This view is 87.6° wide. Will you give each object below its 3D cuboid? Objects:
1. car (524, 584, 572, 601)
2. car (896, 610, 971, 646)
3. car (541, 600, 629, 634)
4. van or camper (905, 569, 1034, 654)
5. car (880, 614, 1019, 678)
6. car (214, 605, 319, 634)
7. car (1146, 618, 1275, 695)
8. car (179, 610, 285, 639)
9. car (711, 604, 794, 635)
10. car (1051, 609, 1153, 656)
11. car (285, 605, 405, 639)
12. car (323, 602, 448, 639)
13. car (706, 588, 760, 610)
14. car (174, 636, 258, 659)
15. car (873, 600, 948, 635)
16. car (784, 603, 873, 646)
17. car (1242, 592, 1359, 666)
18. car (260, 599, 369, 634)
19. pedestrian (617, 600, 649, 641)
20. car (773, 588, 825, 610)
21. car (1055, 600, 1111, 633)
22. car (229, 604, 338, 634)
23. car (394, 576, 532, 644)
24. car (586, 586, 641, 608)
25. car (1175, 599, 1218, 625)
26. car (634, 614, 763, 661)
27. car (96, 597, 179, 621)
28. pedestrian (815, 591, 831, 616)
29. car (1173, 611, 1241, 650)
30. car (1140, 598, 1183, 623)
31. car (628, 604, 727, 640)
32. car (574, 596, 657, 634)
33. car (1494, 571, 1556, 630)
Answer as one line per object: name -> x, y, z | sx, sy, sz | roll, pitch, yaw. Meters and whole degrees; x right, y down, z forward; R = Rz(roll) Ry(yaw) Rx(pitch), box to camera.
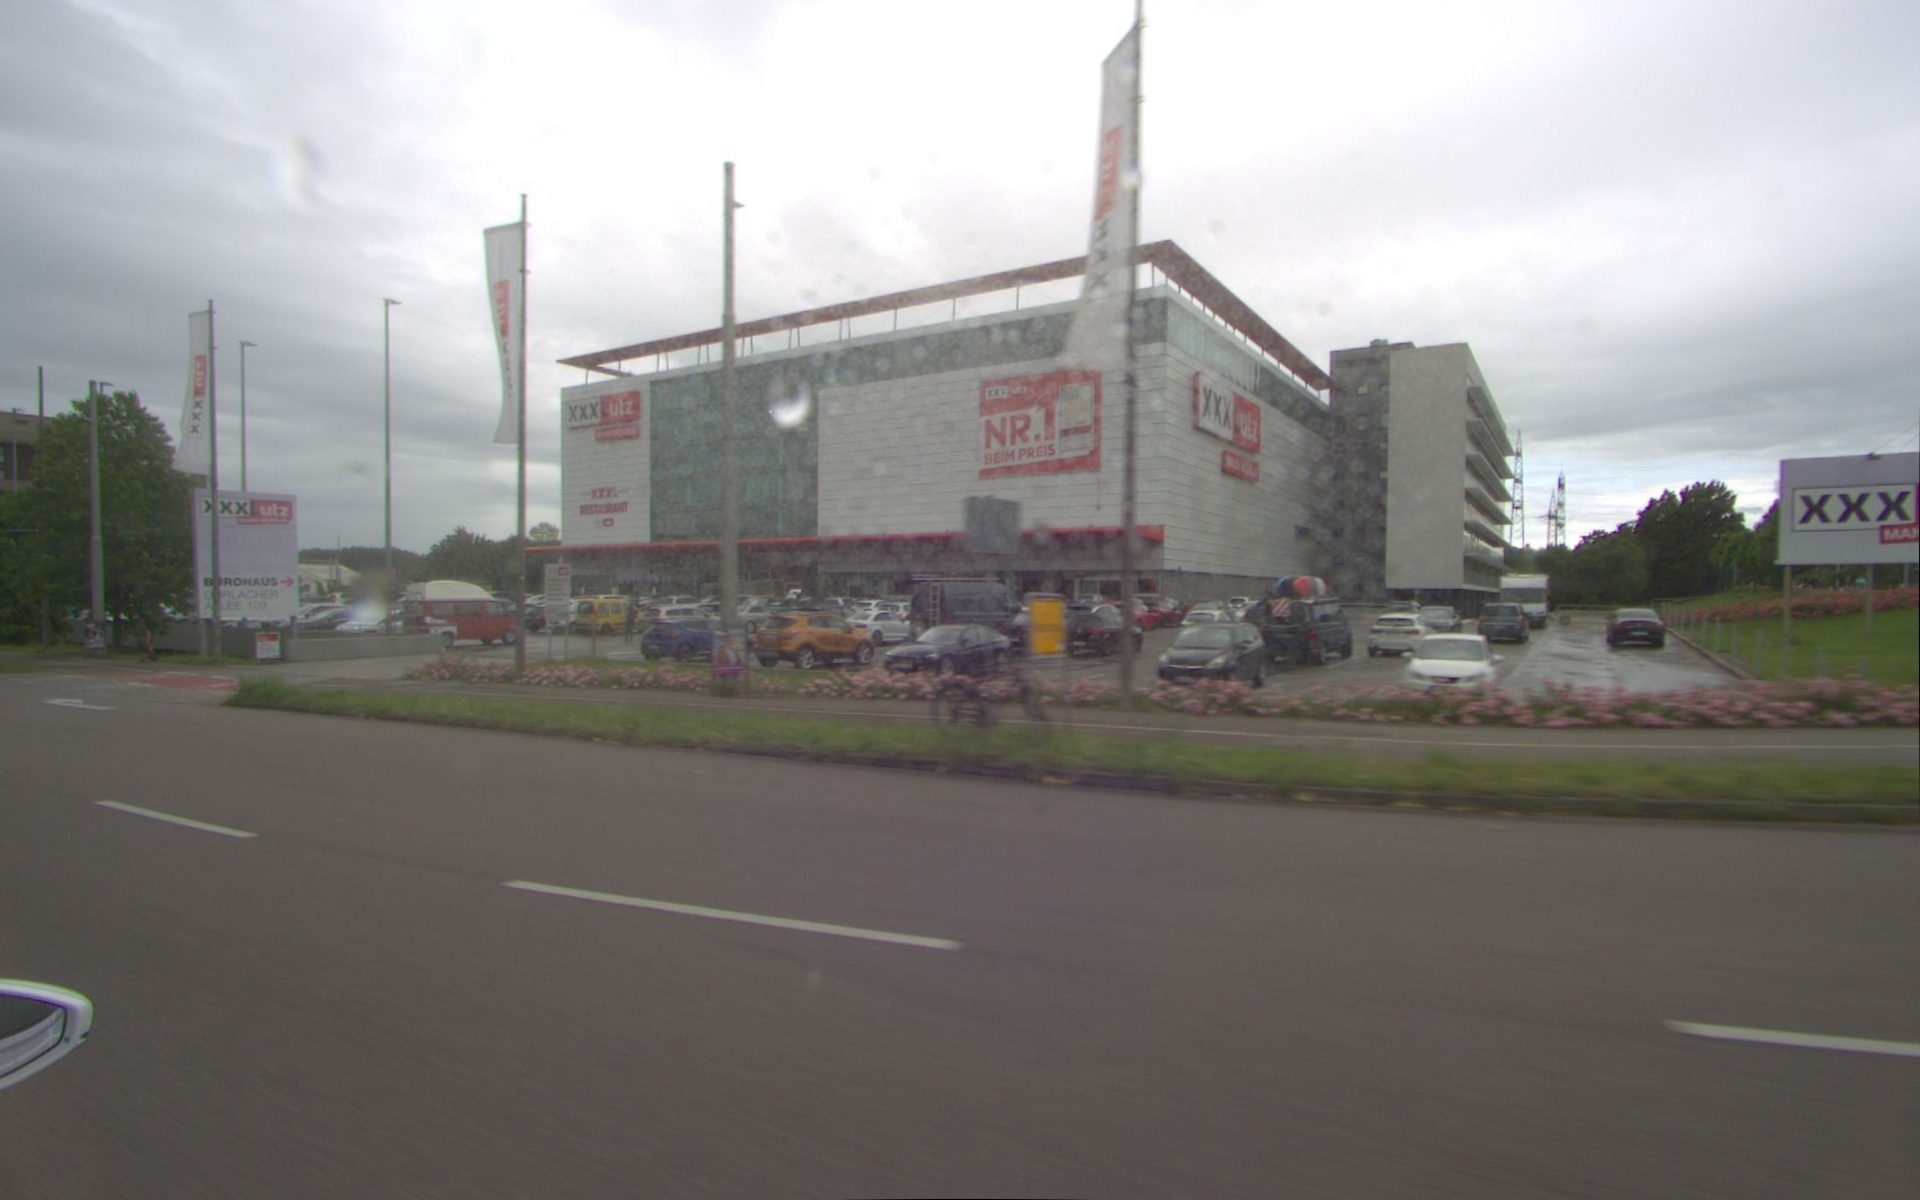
car -> -36.449, -0.662, 88.728 | 1.679, 1.394, 3.583 | 2, 1, 35
car -> -1.162, 1.242, 45.602 | 1.634, 1.576, 3.658 | 0, -1, 34
car -> -19.572, 0.864, 52.371 | 1.853, 1.617, 3.977 | 2, 1, 34
van or camper -> 0.467, 0.434, 38.383 | 1.968, 3.023, 5.354 | 0, 0, 41
car -> -0.190, 1.203, 27.737 | 1.744, 1.604, 4.518 | 0, -1, 32
car -> -35.167, 0.967, 50.877 | 1.738, 1.368, 4.046 | 2, 1, 32
car -> 6.056, 1.258, 23.917 | 1.744, 1.604, 4.083 | 2, 0, 33
car -> -37.999, 1.239, 52.337 | 1.783, 1.368, 4.144 | 2, 1, 32
car -> -10.778, 1.009, 52.221 | 1.715, 1.488, 4.228 | 2, 1, 34
car -> 5.163, 1.121, 36.035 | 1.923, 1.576, 3.971 | -1, -1, 38
car -> -28.699, 1.008, 46.866 | 1.841, 1.438, 4.454 | 2, 1, 34
car -> -25.044, 0.867, 43.769 | 1.933, 1.481, 4.363 | 2, 1, 34
car -> -16.966, -0.047, 74.931 | 1.717, 1.575, 3.763 | 2, 1, 33
car -> -48.048, 3.023, 64.719 | 1.738, 1.368, 4.048 | 0, -1, 31
car -> -2.337, 0.833, 48.072 | 1.669, 1.602, 3.885 | 1, 0, 33
car -> -5.585, 1.015, 43.008 | 1.804, 1.676, 3.883 | 1, 2, 31
car -> 11.095, 0.873, 32.409 | 2.095, 2.194, 5.016 | 0, 0, 37
car -> -30.764, 0.784, 47.836 | 1.739, 1.561, 4.044 | 2, 1, 34
pedestrian -> -14.193, 0.871, 43.449 | 0.872, 1.743, 0.938 | 3, 1, 31
car -> -12.039, -0.046, 75.166 | 1.804, 1.575, 3.785 | 2, 1, 32
car -> 7.251, 0.982, 58.723 | 1.788, 1.866, 3.668 | -1, -1, 34
car -> -33.079, 0.907, 49.027 | 1.808, 1.368, 4.046 | 2, 1, 32
car -> -20.644, 0.416, 41.770 | 2.140, 2.614, 4.711 | 3, 1, 34
car -> -25.851, -0.213, 74.704 | 1.717, 1.608, 3.556 | 0, -1, 37
car -> 15.526, 0.740, 65.650 | 1.628, 1.581, 3.594 | 1, 2, 34
car -> -8.608, 1.198, 33.228 | 1.789, 1.474, 3.977 | -1, -1, 34
car -> -49.157, 0.544, 59.896 | 1.581, 1.325, 3.511 | 2, 1, 28
pedestrian -> -10.809, 0.277, 79.036 | 0.953, 1.895, 0.948 | 2, 1, 19
car -> 9.957, 1.179, 40.163 | 1.803, 1.487, 3.889 | -1, -1, 27
car -> 13.679, 0.722, 67.832 | 1.628, 1.580, 3.596 | 1, -1, 34
car -> -13.395, 1.040, 47.758 | 1.808, 1.605, 4.400 | 2, 1, 34
car -> -17.491, 0.741, 50.945 | 1.709, 1.792, 3.727 | 2, 1, 34
car -> 31.510, 0.015, 55.962 | 2.726, 3.029, 6.921 | 2, 1, 29
